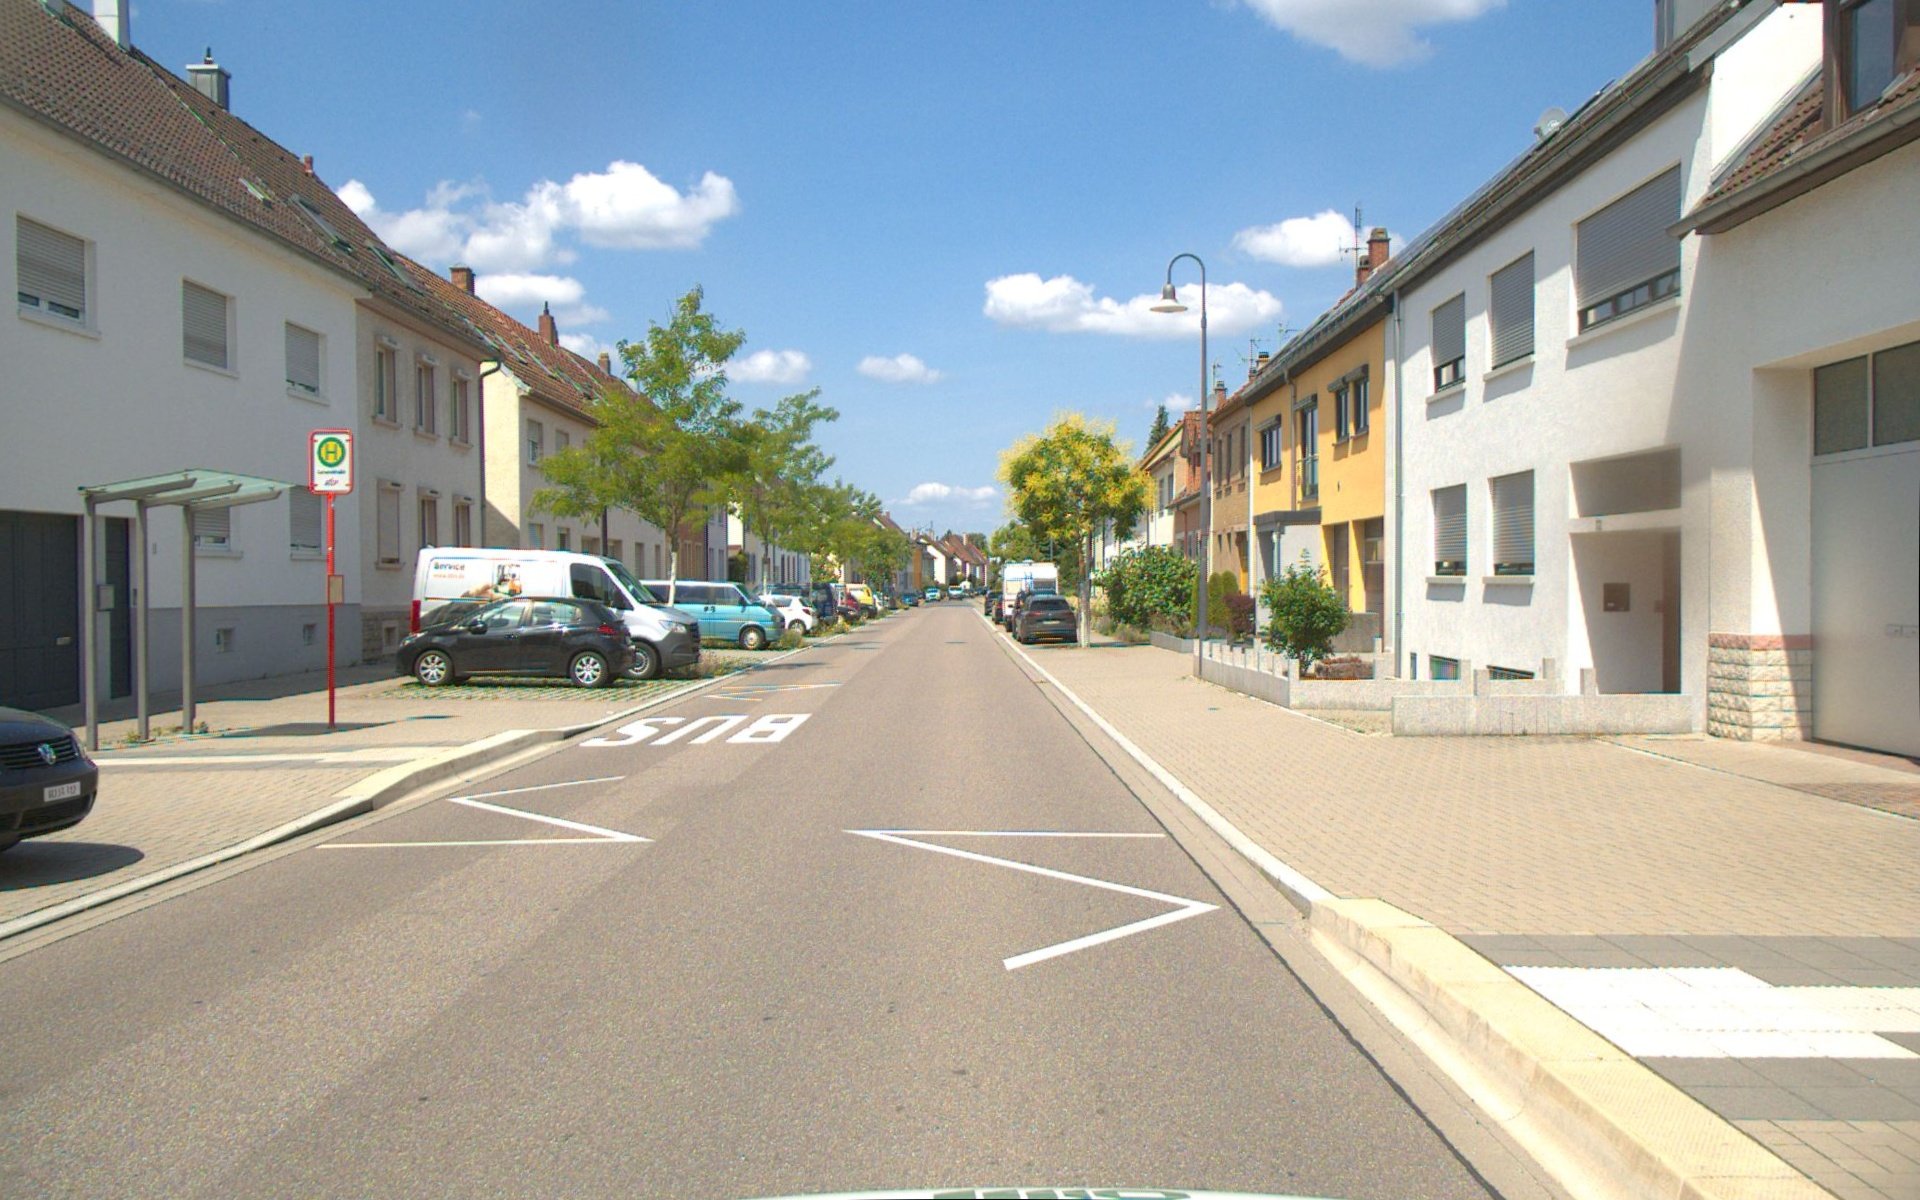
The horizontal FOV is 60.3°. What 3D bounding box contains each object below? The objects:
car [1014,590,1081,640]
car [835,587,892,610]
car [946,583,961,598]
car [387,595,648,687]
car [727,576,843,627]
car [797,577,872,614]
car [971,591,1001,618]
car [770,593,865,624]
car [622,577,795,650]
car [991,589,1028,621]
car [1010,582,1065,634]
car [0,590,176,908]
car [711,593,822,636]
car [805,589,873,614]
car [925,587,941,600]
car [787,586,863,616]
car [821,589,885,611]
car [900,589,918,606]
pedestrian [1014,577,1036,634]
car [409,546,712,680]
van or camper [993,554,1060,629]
[{"bbox_3d":[2.701,0.444,51.949,1.731,1.514,4.295,0,0,-2],"label":"car"},{"bbox_3d":[-7.025,-0.093,120.978,4.100,1.596,1.772,1,0,-4],"label":"car"},{"bbox_3d":[-0.849,-1.289,224.650,1.981,1.984,4.897,-1,0,-1],"label":"car"},{"bbox_3d":[-7.336,0.658,27.738,3.907,1.471,1.900,0,0,-3],"label":"car"},{"bbox_3d":[-7.185,0.057,68.094,4.517,2.031,1.953,0,0,2],"label":"car"},{"bbox_3d":[-7.692,-0.294,101.590,4.416,2.215,1.925,0,0,0],"label":"car"},{"bbox_3d":[1.729,0.281,110.020,1.825,1.664,4.448,-3,1,2],"label":"car"},{"bbox_3d":[-6.915,0.403,80.534,4.431,1.450,1.795,0,0,0],"label":"car"},{"bbox_3d":[-7.097,0.373,47.001,4.581,1.940,2.000,1,0,0],"label":"car"},{"bbox_3d":[2.466,0.228,82.838,1.730,1.556,4.007,0,0,0],"label":"car"},{"bbox_3d":[2.667,0.241,57.477,1.730,1.734,4.325,0,0,0],"label":"car"},{"bbox_3d":[-6.916,0.708,8.871,4.493,1.543,1.901,0,0,0],"label":"car"},{"bbox_3d":[-7.093,0.523,60.874,3.835,1.514,1.773,0,0,2],"label":"car"},{"bbox_3d":[-7.250,0.091,99.108,3.928,1.485,1.755,0,0,0],"label":"car"},{"bbox_3d":[-3.578,-0.834,217.719,1.811,1.688,4.001,2,0,3],"label":"car"},{"bbox_3d":[-7.623,0.067,93.640,4.166,1.639,1.842,0,0,-1],"label":"car"},{"bbox_3d":[-7.365,-0.009,114.097,4.206,1.493,1.774,0,0,1],"label":"car"},{"bbox_3d":[-5.199,-0.282,168.804,1.780,1.458,4.138,3,2,-3],"label":"car"},{"bbox_3d":[2.138,0.190,54.831,0.702,1.885,0.578,0,0,0],"label":"pedestrian"},{"bbox_3d":[-7.294,0.231,30.645,5.062,2.328,2.156,1,0,-2],"label":"car"},{"bbox_3d":[2.668,-0.380,68.049,2.423,2.859,5.790,-2,1,0],"label":"van or camper"}]
